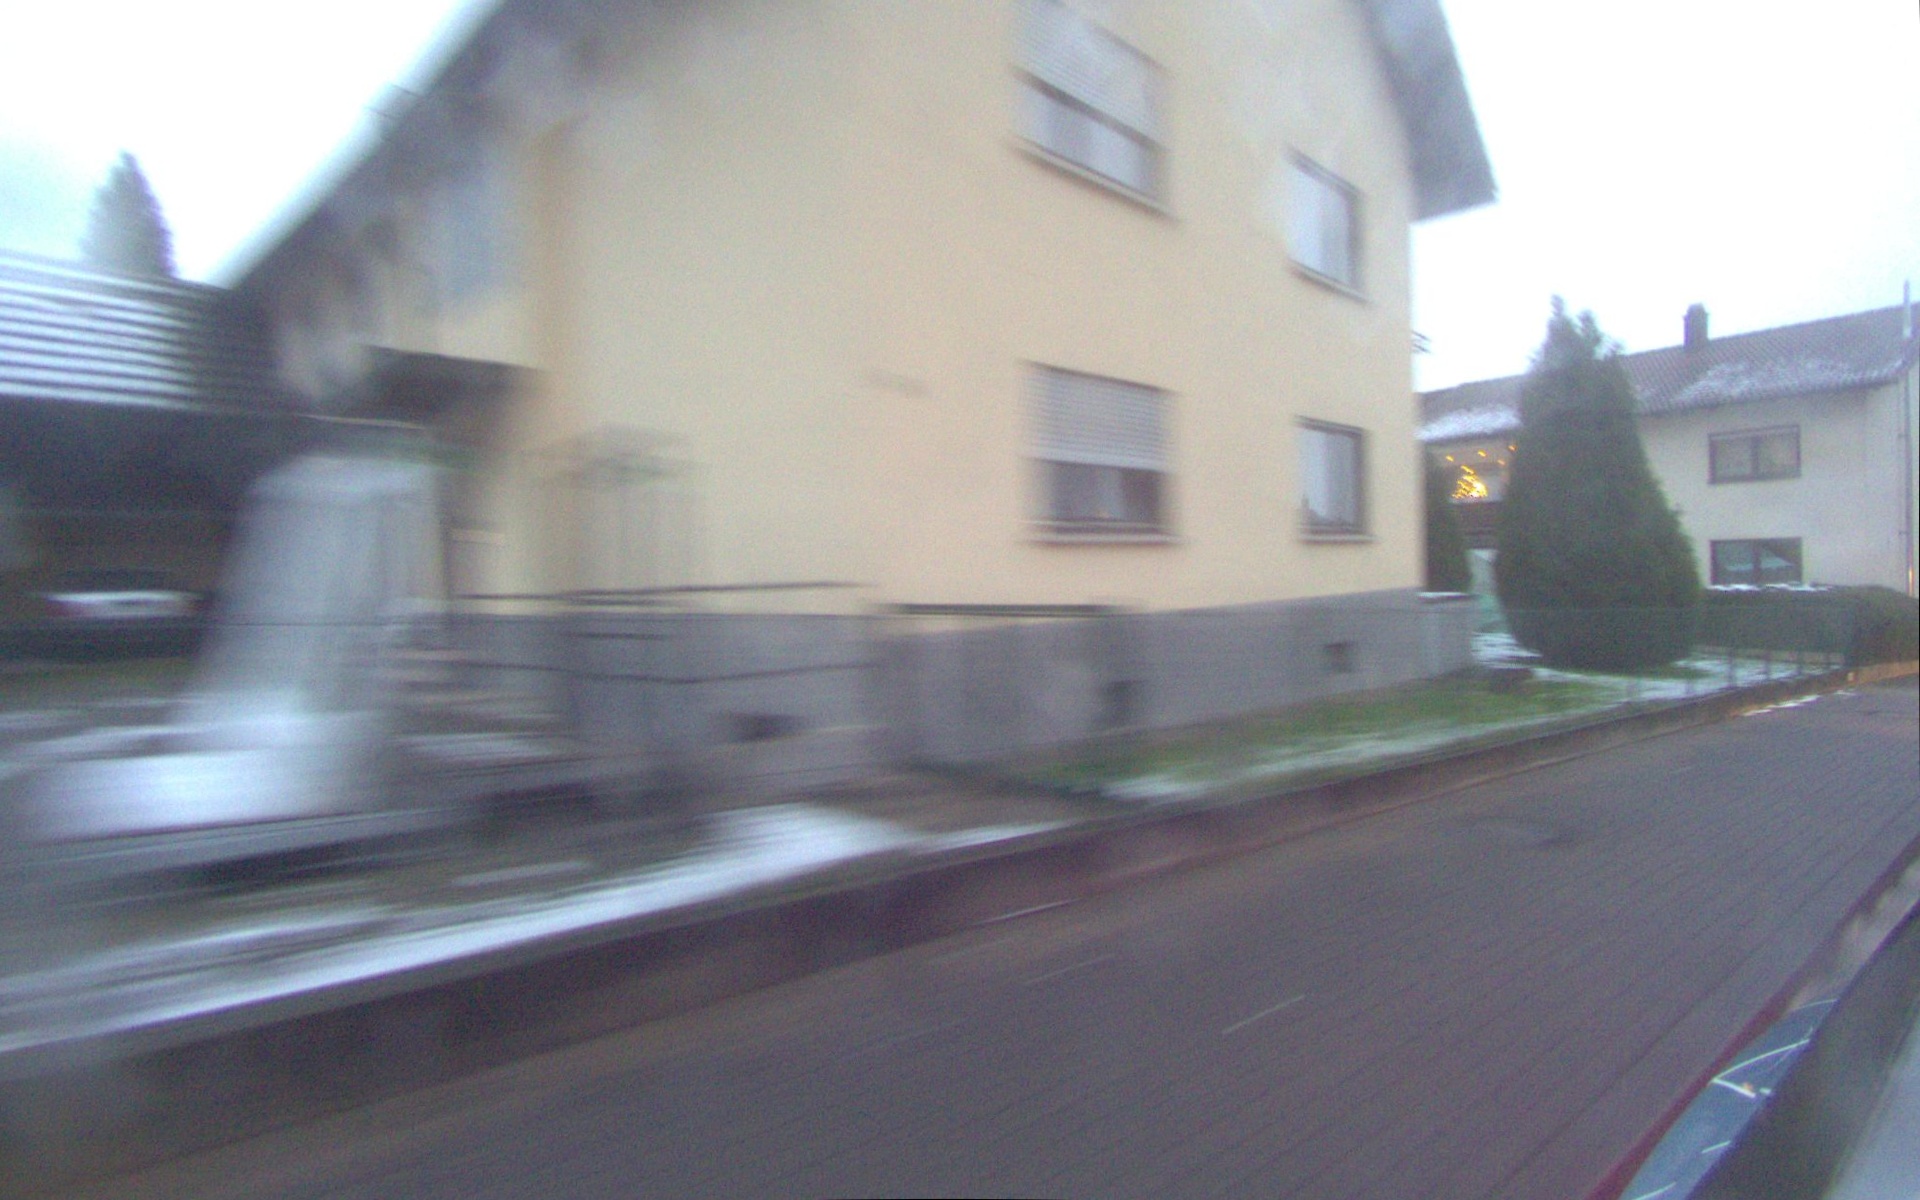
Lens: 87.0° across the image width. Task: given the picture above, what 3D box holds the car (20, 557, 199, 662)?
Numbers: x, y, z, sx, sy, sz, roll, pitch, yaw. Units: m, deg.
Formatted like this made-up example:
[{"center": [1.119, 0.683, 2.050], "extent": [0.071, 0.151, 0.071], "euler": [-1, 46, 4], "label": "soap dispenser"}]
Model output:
[{"center": [-13.115, 0.070, 15.519], "extent": [3.988, 1.399, 1.751], "euler": [2, 2, 45], "label": "car"}]
